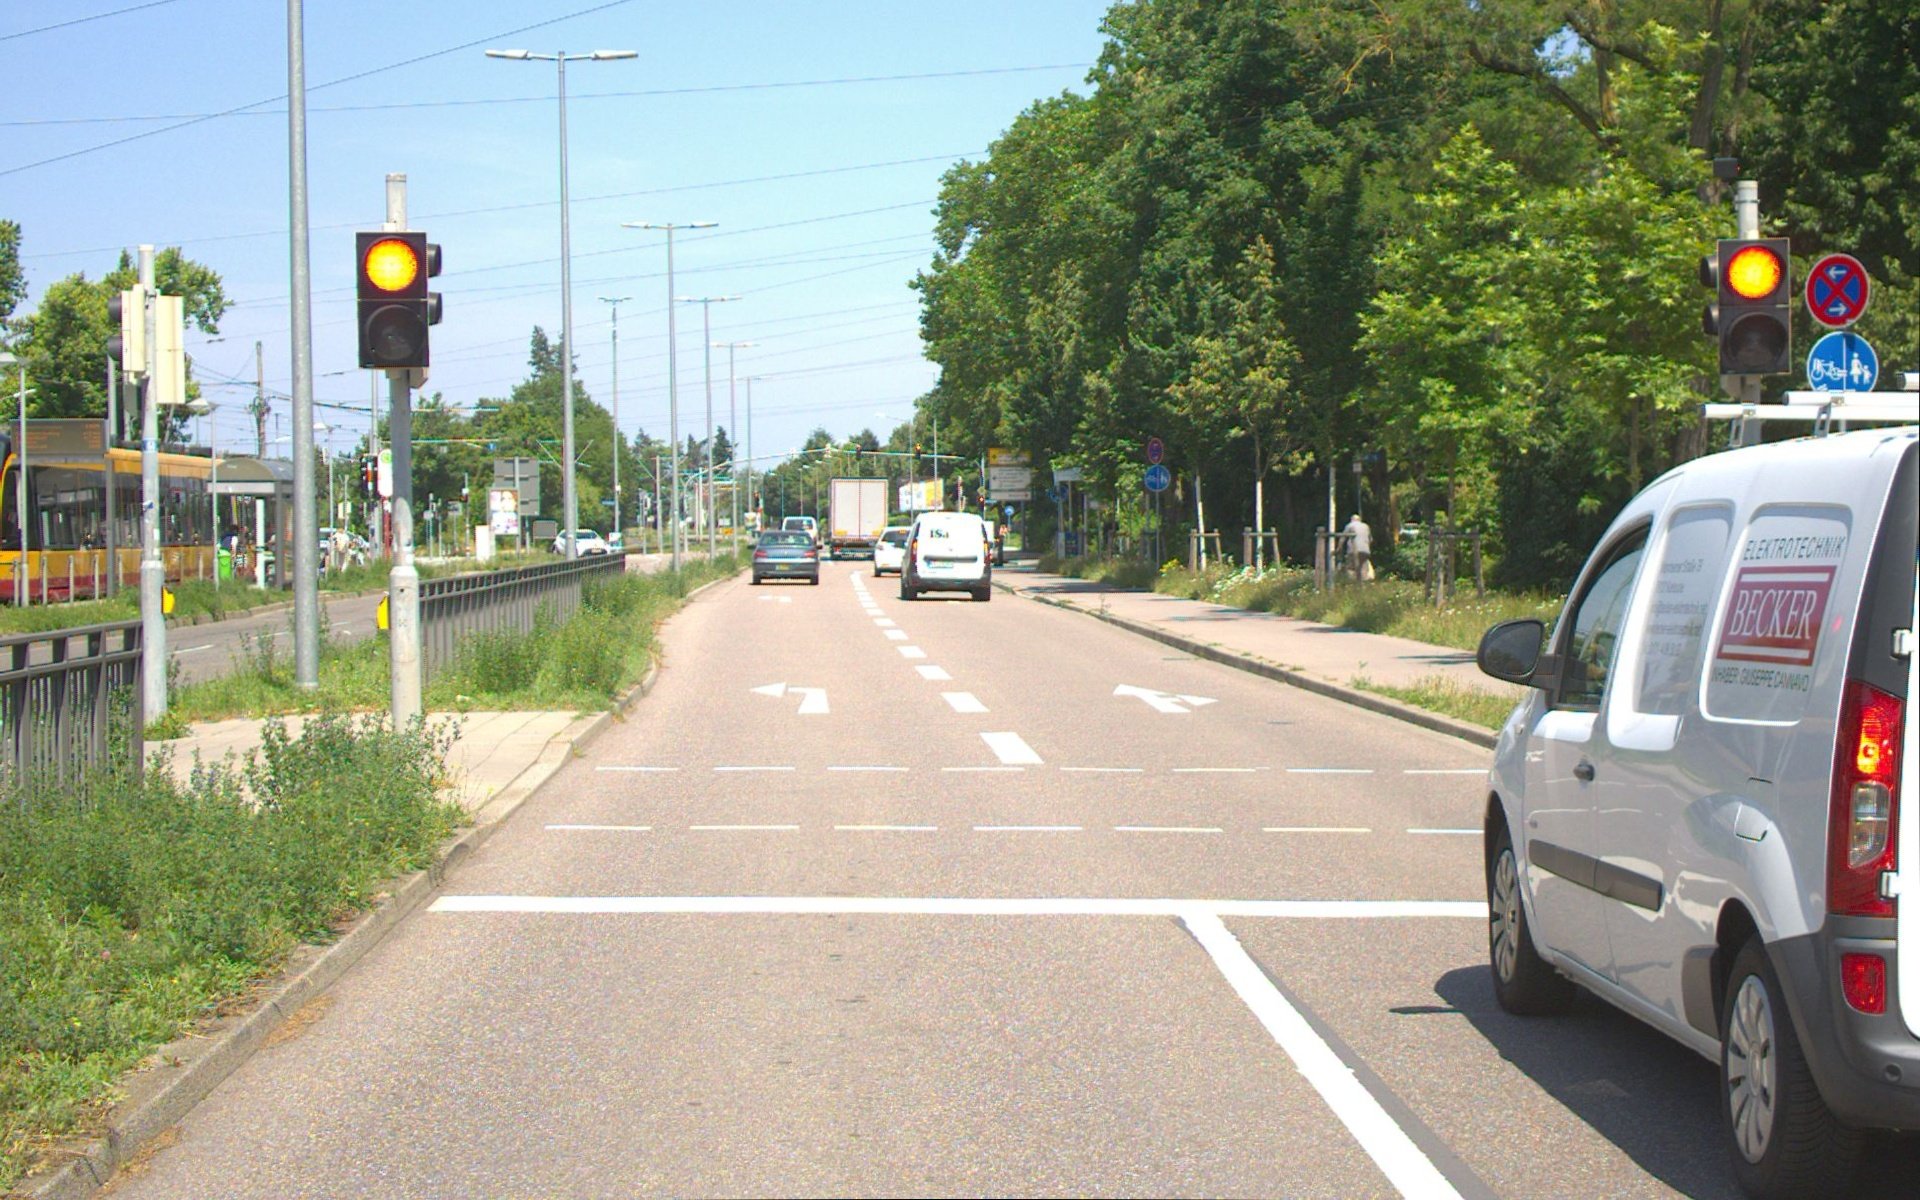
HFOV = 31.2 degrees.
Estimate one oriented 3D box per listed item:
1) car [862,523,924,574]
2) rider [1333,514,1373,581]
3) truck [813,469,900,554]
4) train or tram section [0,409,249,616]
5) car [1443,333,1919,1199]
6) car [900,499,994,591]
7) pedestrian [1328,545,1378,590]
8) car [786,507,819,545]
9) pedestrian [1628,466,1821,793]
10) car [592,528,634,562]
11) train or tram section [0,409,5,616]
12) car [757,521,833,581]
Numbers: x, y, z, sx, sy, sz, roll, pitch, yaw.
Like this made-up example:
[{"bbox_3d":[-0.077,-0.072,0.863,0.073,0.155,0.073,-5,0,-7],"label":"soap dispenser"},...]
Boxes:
[{"bbox_3d":[-2.042,-1.568,103.722,1.803,1.534,4.001,0,1,-2],"label":"car"},{"bbox_3d":[7.507,-1.003,65.669,0.678,1.277,0.534,0,1,-2],"label":"rider"},{"bbox_3d":[-4.852,-4.081,159.048,3.899,3.799,10.794,0,1,-2],"label":"truck"},{"bbox_3d":[-18.866,-1.828,73.945,2.787,3.655,26.002,0,1,-2],"label":"train or tram section"},{"bbox_3d":[2.583,0.361,9.178,1.824,1.875,4.456,1,1,-1],"label":"car"},{"bbox_3d":[-0.244,-1.166,70.885,1.728,1.807,4.000,1,2,3],"label":"car"},{"bbox_3d":[7.501,-0.627,65.720,0.678,0.845,1.774,0,1,-2],"label":"pedestrian"},{"bbox_3d":[-8.019,-3.778,175.062,1.687,1.891,3.871,0,1,-2],"label":"car"},{"bbox_3d":[4.413,0.157,19.883,1.047,1.844,0.757,1,1,12],"label":"pedestrian"},{"bbox_3d":[-16.922,-2.703,167.682,1.993,1.644,4.001,0,1,-6],"label":"car"},{"bbox_3d":[-17.609,-1.151,42.270,2.787,3.655,37.523,0,1,-2],"label":"train or tram section"},{"bbox_3d":[-4.200,-1.281,88.063,1.801,1.481,4.000,0,1,-1],"label":"car"}]
